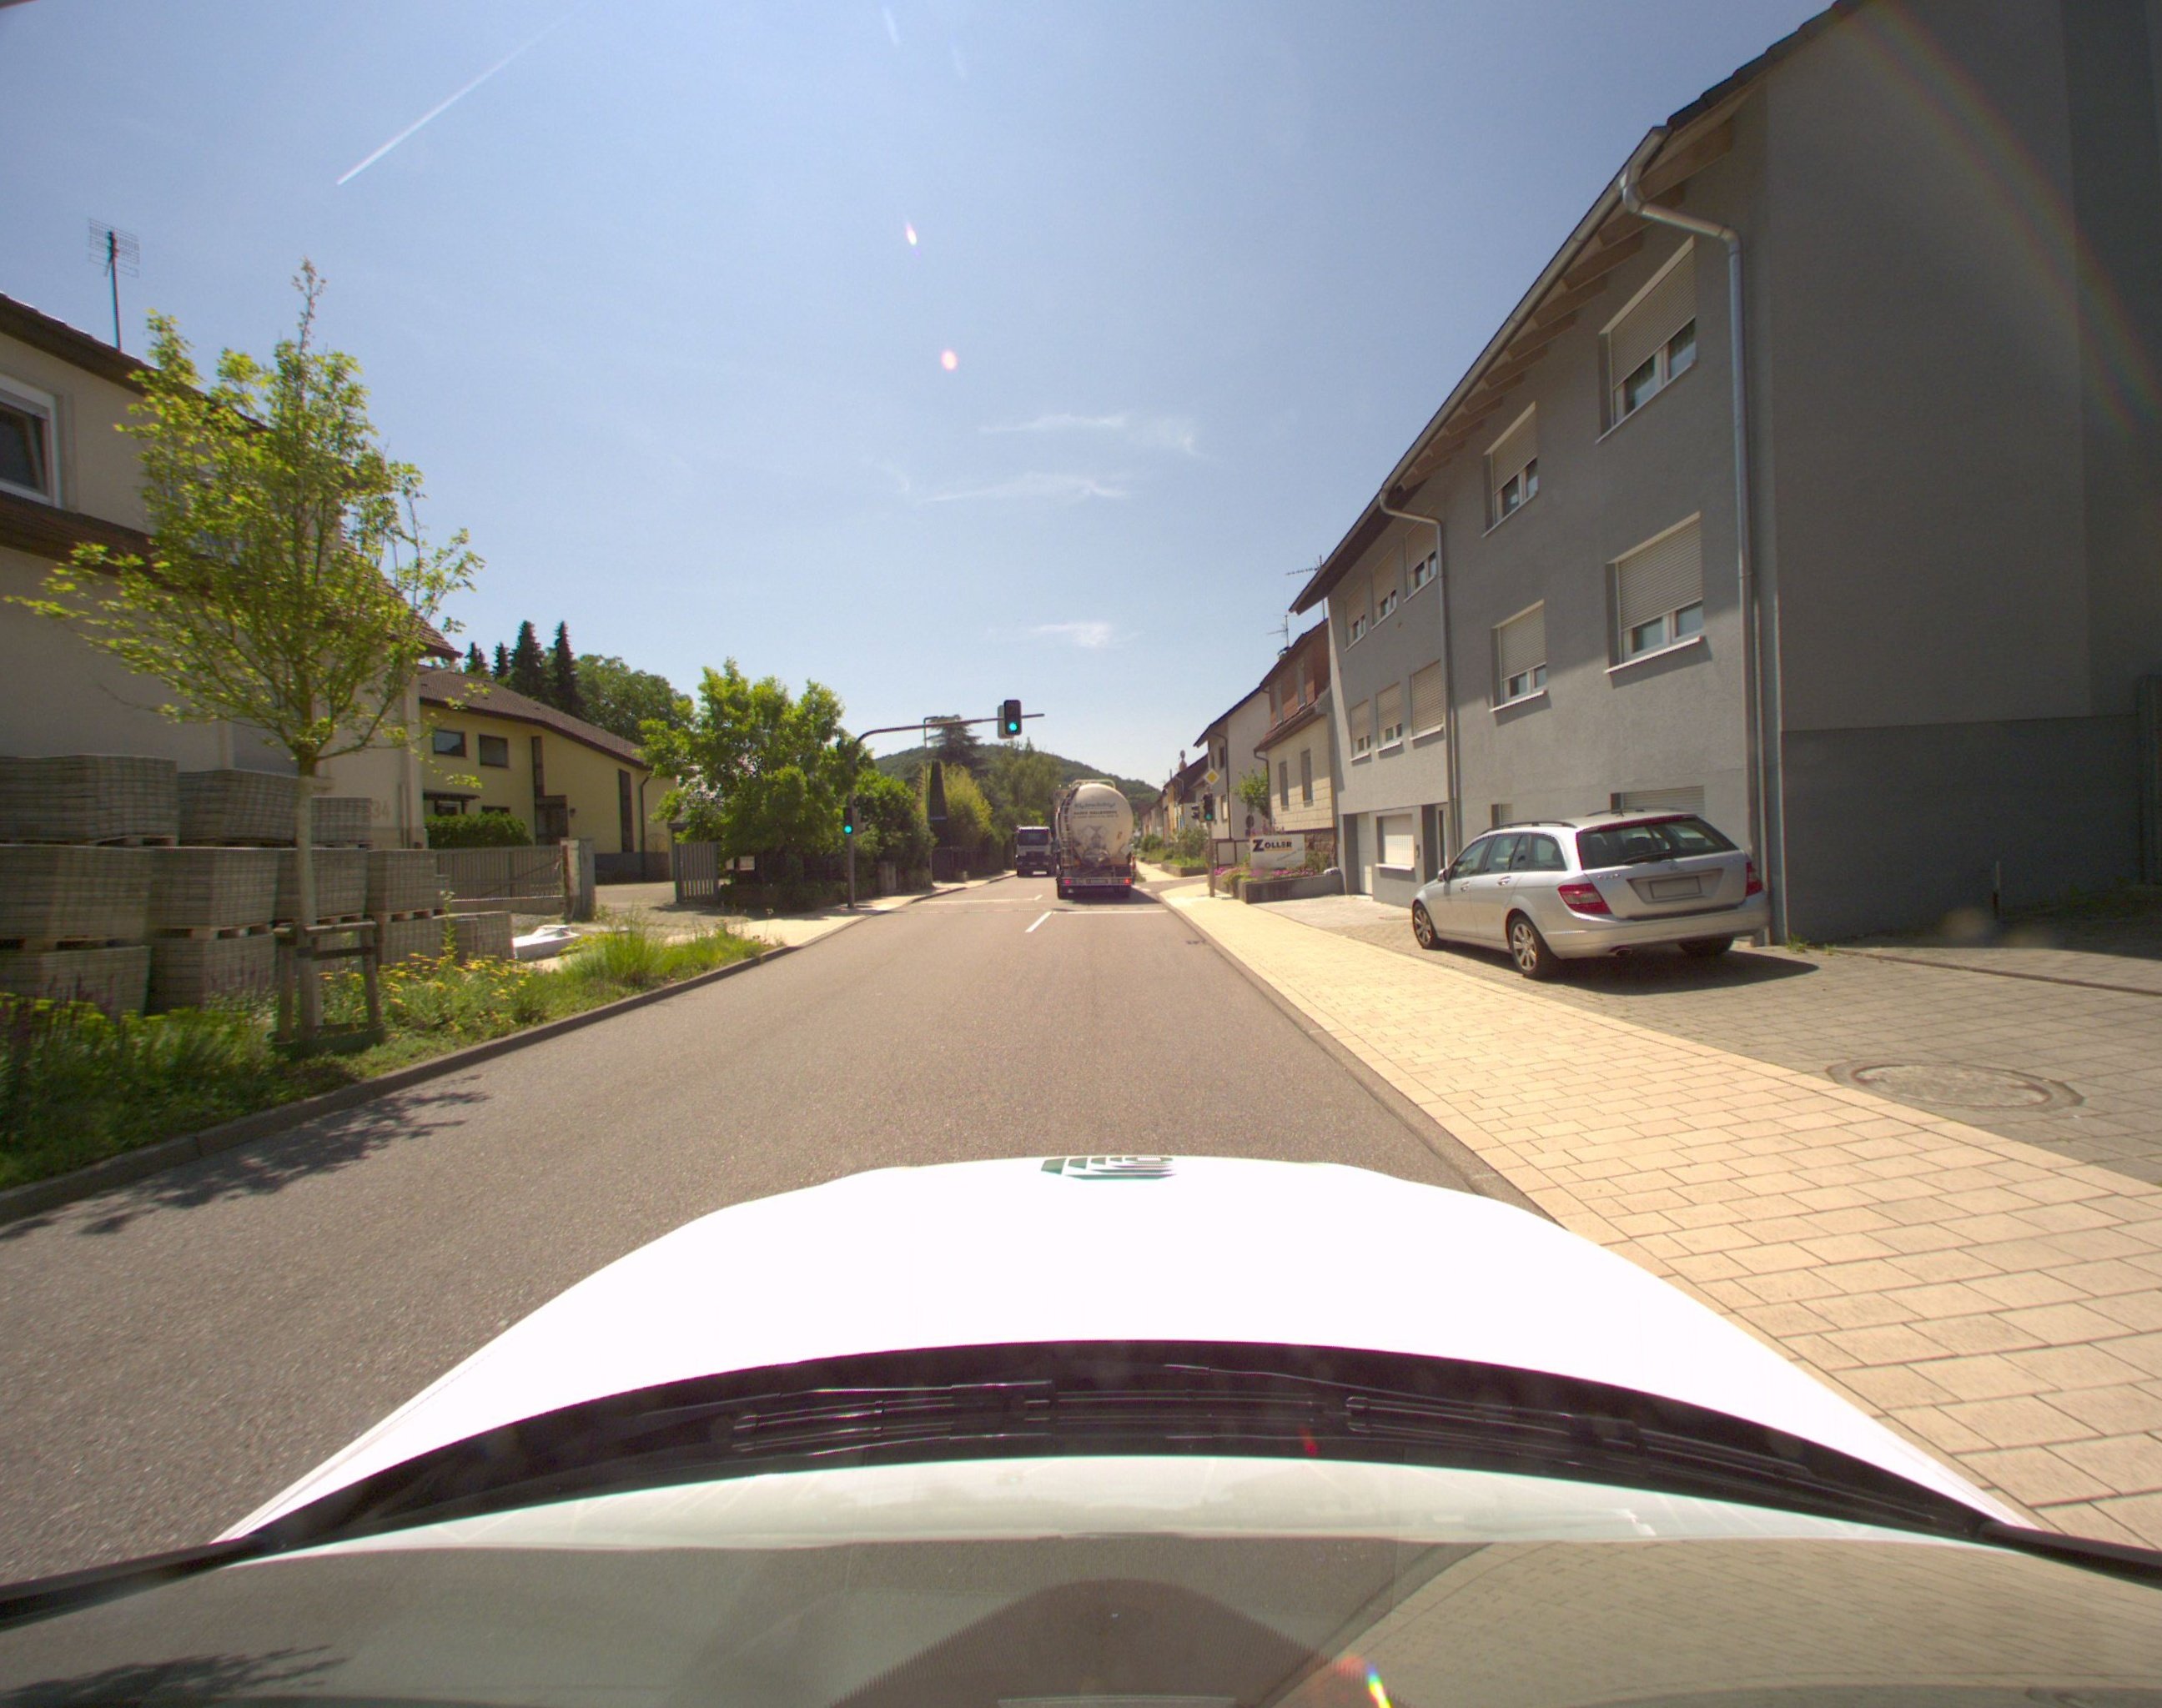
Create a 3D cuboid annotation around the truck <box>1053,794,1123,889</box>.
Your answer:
[{"bbox_3d":[0.186,-0.511,36.941,2.802,3.937,6.092,-1,0,-3],"label":"truck"}]

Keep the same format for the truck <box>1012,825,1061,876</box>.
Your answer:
[{"bbox_3d":[-3.094,-0.210,58.800,2.718,3.371,8.638,-1,0,2],"label":"truck"}]

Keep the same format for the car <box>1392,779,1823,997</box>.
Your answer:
[{"bbox_3d":[5.027,0.277,8.721,1.783,1.541,4.524,-6,-1,4],"label":"car"}]

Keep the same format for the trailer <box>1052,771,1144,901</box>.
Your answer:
[{"bbox_3d":[0.405,-0.560,30.471,2.788,4.001,10.317,-1,0,-1],"label":"trailer"}]
